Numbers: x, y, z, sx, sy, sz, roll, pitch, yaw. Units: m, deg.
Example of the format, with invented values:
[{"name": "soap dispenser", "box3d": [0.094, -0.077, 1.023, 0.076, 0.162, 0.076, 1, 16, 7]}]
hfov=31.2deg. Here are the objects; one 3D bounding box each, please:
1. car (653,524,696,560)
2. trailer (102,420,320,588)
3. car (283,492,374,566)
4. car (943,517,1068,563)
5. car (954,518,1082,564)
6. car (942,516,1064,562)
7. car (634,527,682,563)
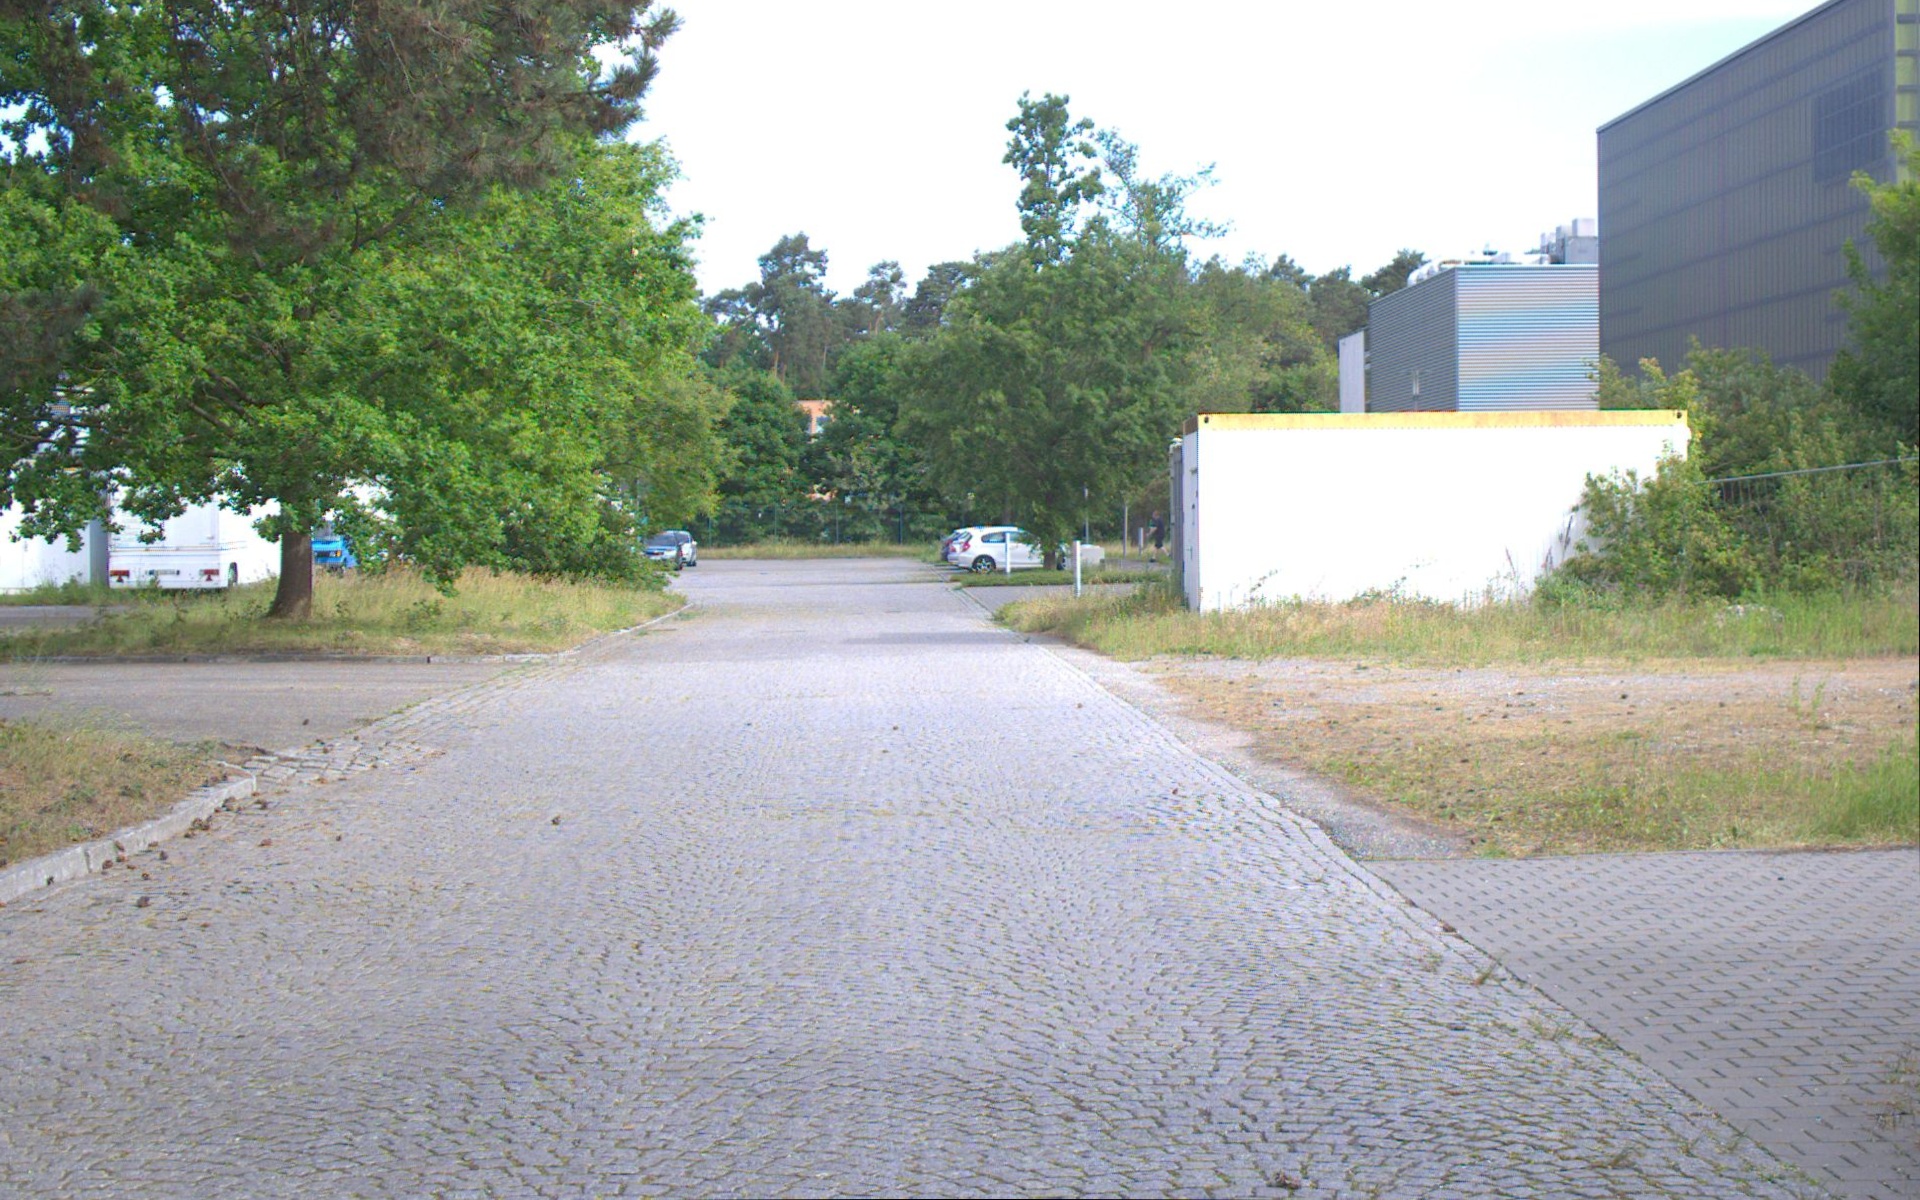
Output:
[{"name": "car", "box3d": [-11.872, -2.414, 143.134, 1.748, 1.449, 4.001, -1, 1, -4]}, {"name": "trailer", "box3d": [-17.601, -2.240, 81.553, 2.656, 3.693, 10.722, -1, 1, 1]}, {"name": "car", "box3d": [-22.208, -2.500, 121.064, 1.993, 2.514, 5.618, -1, 1, 2]}, {"name": "car", "box3d": [1.462, -1.944, 111.392, 3.987, 1.450, 1.697, -1, 1, -1]}, {"name": "car", "box3d": [1.825, -1.856, 109.232, 3.987, 1.450, 2.000, 0, 1, -1]}, {"name": "car", "box3d": [1.424, -2.028, 114.431, 3.987, 1.450, 1.770, -1, 1, -1]}, {"name": "car", "box3d": [-11.671, -2.148, 132.906, 1.748, 1.359, 4.001, -1, 1, -4]}]
